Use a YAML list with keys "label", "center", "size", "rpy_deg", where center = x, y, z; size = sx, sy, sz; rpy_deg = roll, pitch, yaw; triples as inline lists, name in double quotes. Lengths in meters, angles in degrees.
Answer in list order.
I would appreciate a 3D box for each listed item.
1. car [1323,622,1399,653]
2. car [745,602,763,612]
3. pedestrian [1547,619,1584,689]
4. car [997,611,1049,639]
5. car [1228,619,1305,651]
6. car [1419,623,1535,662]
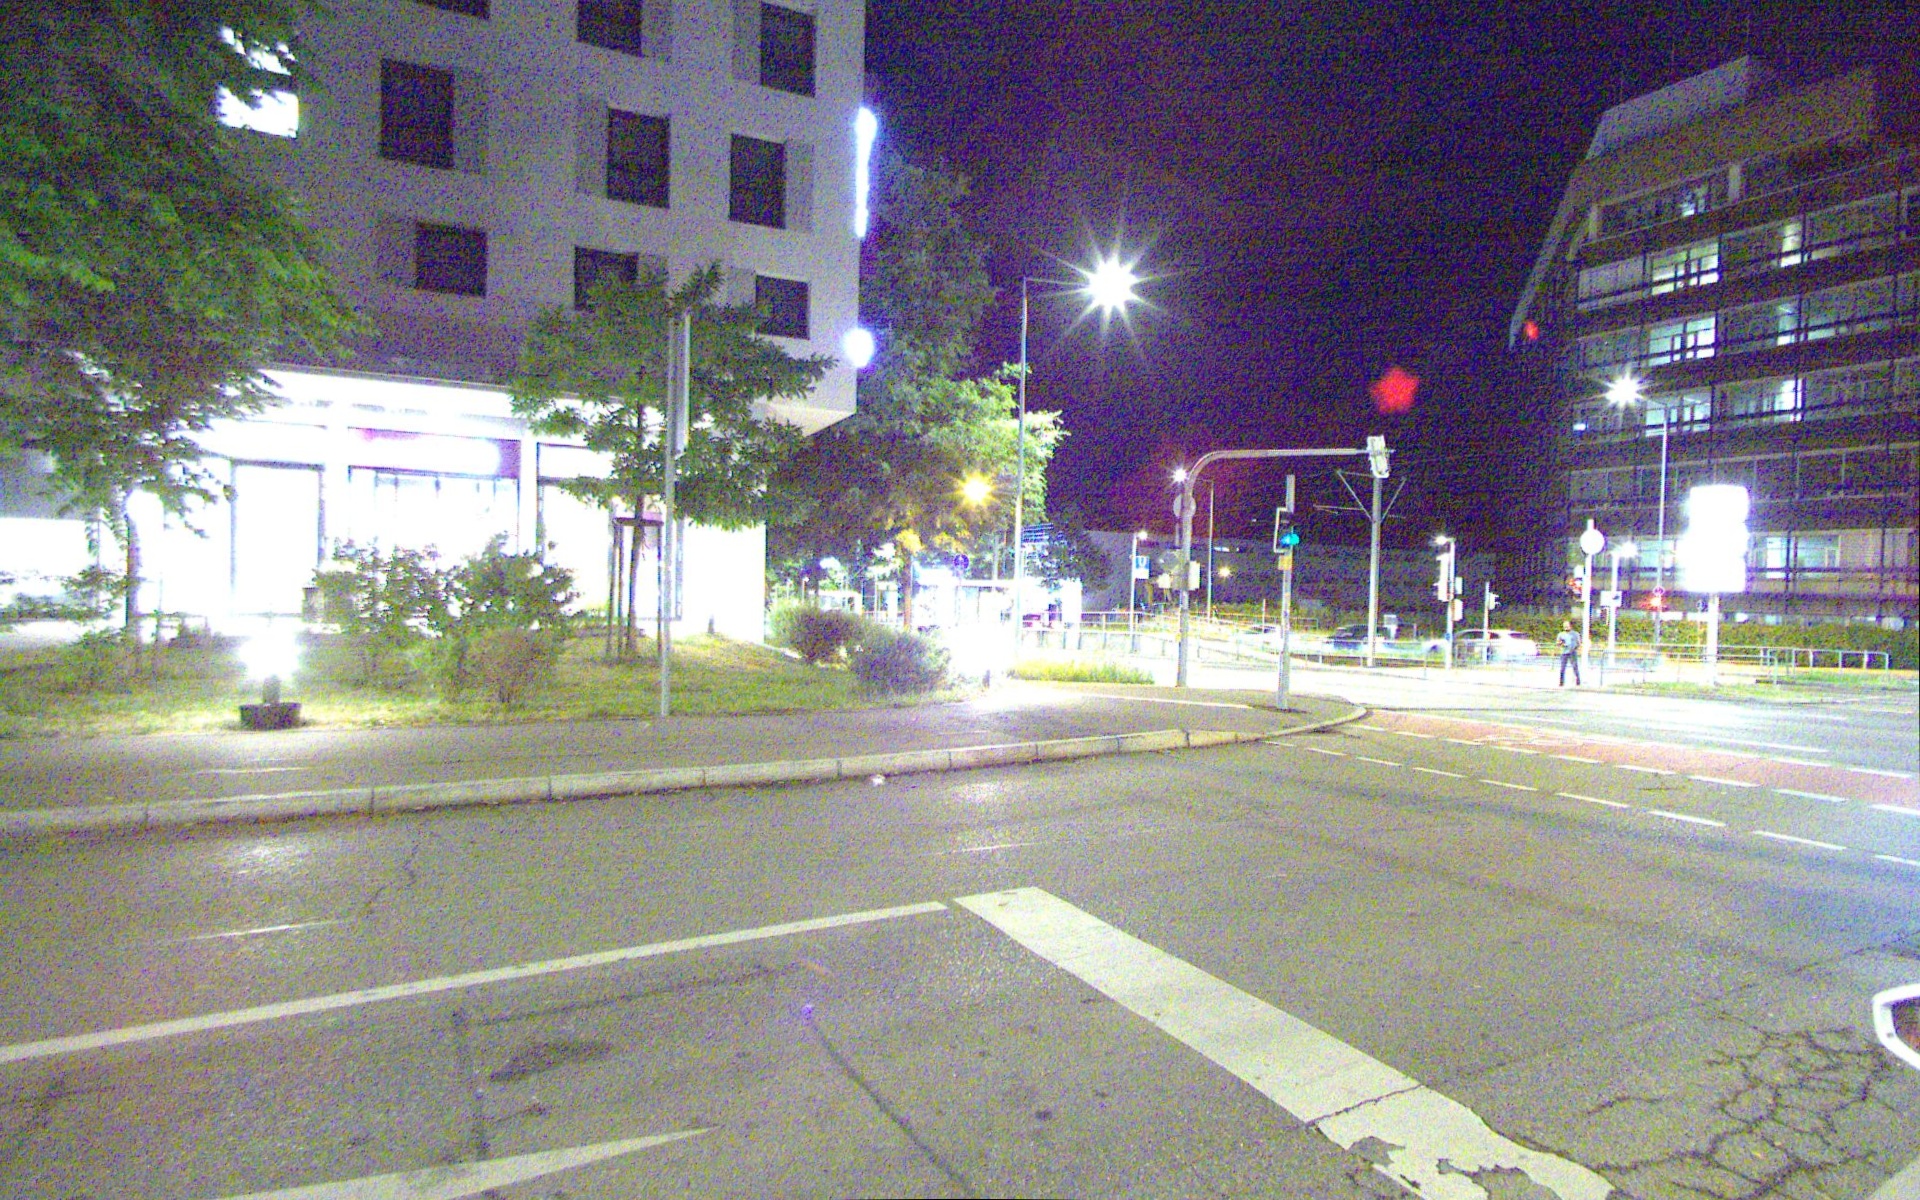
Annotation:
- label: "car"
  center: [22.377, 2.054, 56.151]
  size: [1.786, 1.653, 3.810]
  rpy_deg: [1, -1, -23]
- label: "car"
  center: [-33.464, 1.144, 162.932]
  size: [1.845, 1.506, 3.822]
  rpy_deg: [3, 0, -26]
- label: "pedestrian"
  center: [15.683, 1.387, 26.007]
  size: [0.668, 1.745, 0.703]
  rpy_deg: [2, 0, 38]
- label: "car"
  center: [4.882, 1.931, 78.874]
  size: [1.845, 1.909, 4.926]
  rpy_deg: [3, 0, -26]
- label: "car"
  center: [16.510, 1.896, 54.350]
  size: [1.845, 1.506, 3.822]
  rpy_deg: [3, 0, -26]
- label: "car"
  center: [23.414, 1.914, 45.696]
  size: [1.755, 1.506, 4.559]
  rpy_deg: [1, 0, -26]
